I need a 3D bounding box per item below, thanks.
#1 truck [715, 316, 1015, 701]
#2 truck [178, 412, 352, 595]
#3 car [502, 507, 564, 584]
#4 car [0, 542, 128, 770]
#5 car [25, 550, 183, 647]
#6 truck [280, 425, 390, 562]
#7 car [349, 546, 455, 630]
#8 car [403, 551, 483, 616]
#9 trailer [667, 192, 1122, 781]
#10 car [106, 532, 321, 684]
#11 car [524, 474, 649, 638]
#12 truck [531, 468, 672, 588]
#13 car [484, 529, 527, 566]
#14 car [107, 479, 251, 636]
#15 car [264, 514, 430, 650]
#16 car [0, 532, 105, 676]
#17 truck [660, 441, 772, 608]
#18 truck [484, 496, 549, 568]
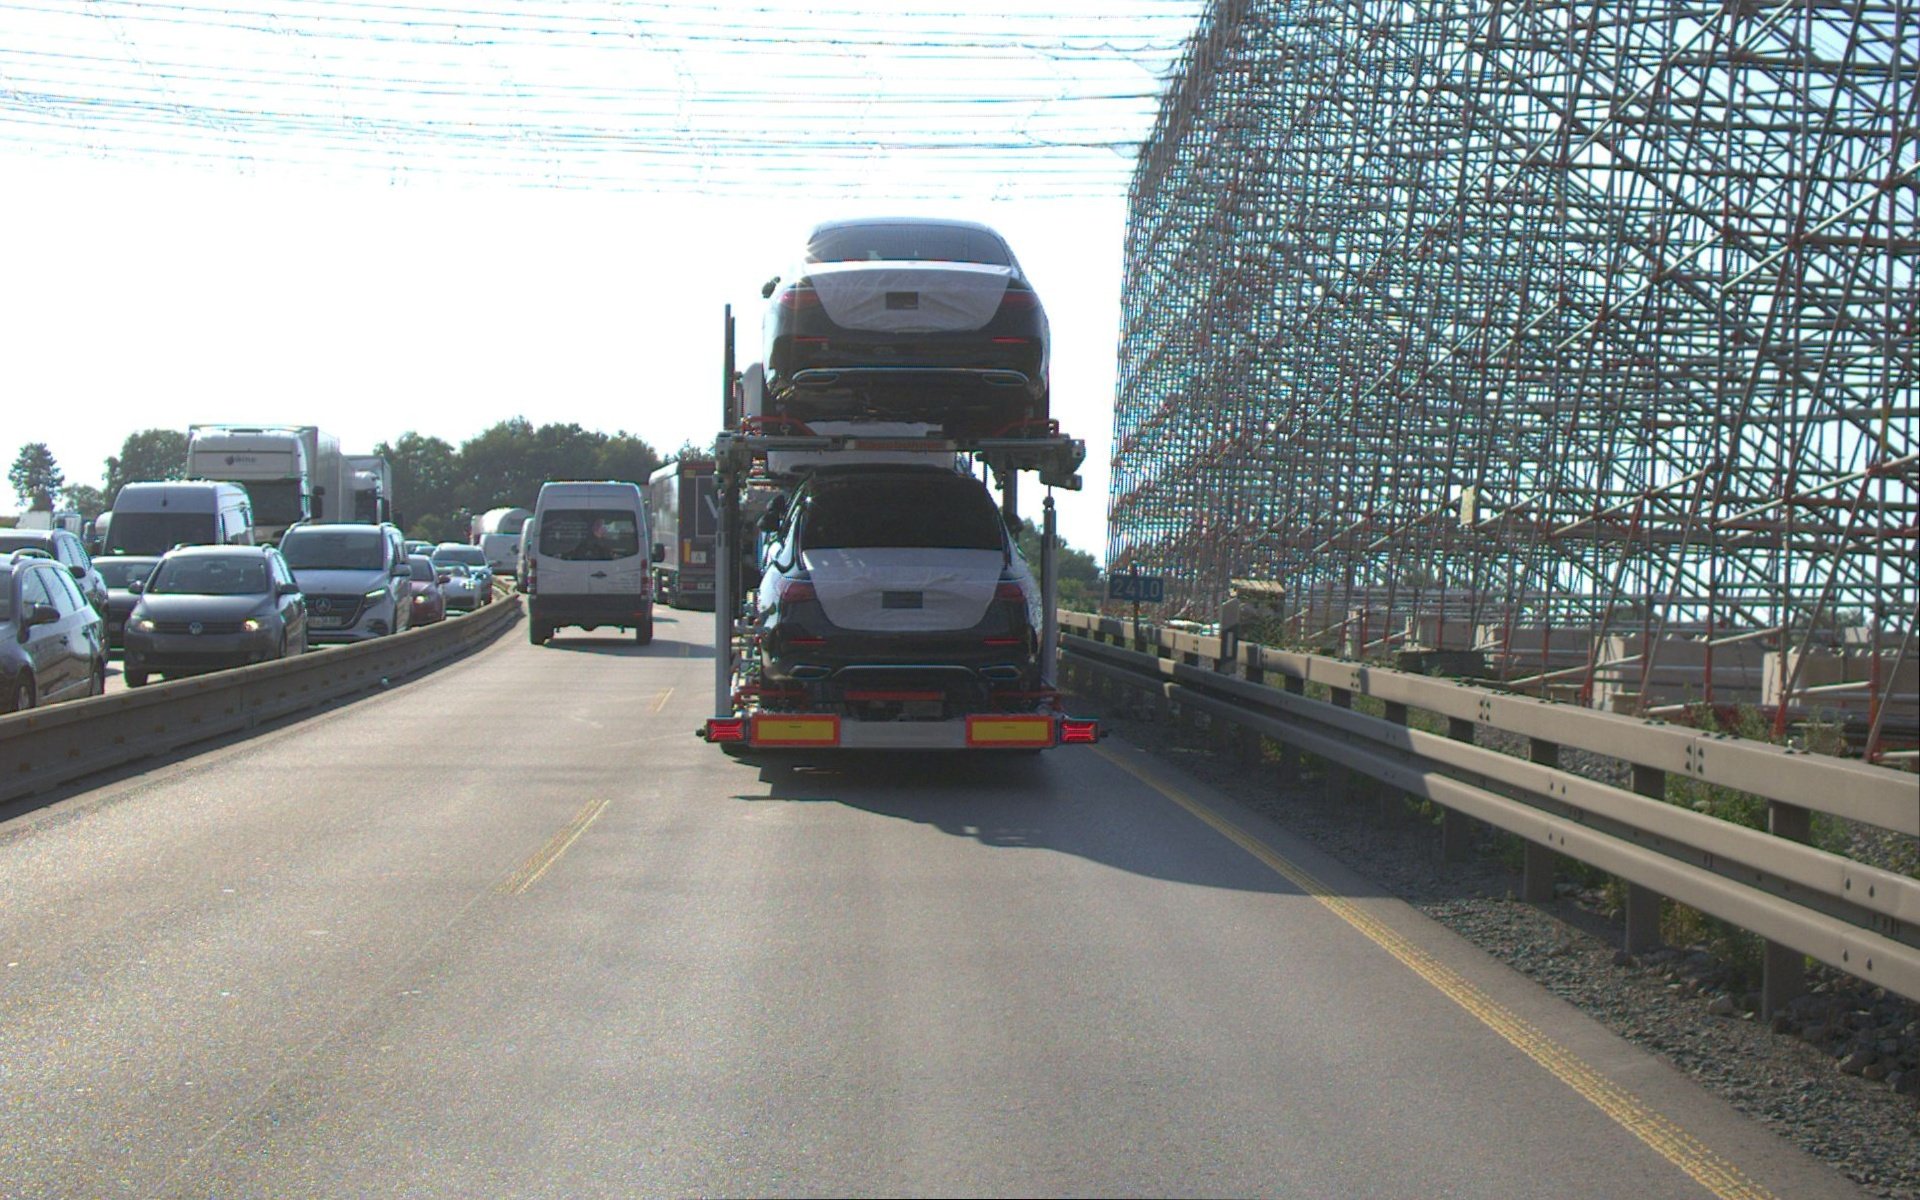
[{"bbox_3d":[-1.033,-0.900,36.666,2.881,3.690,7.326,0,0,-2],"label":"truck"},{"bbox_3d":[-14.498,-1.968,72.480,2.594,3.462,12.395,1,1,-7],"label":"truck"},{"bbox_3d":[-14.768,-1.892,118.943,1.993,2.570,4.001,1,1,-6],"label":"car"},{"bbox_3d":[-7.496,0.338,25.608,1.741,1.537,4.406,1,1,-3],"label":"car"},{"bbox_3d":[-12.255,-0.033,49.424,1.582,1.327,4.001,0,0,-5],"label":"car"},{"bbox_3d":[-17.078,-2.837,94.429,2.594,3.462,12.395,1,1,-9],"label":"truck"},{"bbox_3d":[-10.301,-0.239,63.491,1.836,1.448,4.001,1,1,-9],"label":"car"},{"bbox_3d":[-12.181,-0.406,80.855,1.701,1.448,4.001,1,1,-10],"label":"car"},{"bbox_3d":[-0.723,-0.759,29.159,2.868,3.712,14.948,0,0,-2],"label":"trailer"},{"bbox_3d":[-8.531,0.054,39.561,1.695,1.623,4.000,1,1,-2],"label":"car"},{"bbox_3d":[-6.192,-0.704,57.009,1.956,2.612,4.001,-1,0,-6],"label":"car"},{"bbox_3d":[-13.878,-2.644,131.713,3.686,4.206,13.672,-3,1,-12],"label":"truck"},{"bbox_3d":[-19.928,-2.299,150.796,1.710,1.612,3.504,0,0,-4],"label":"car"},{"bbox_3d":[-13.206,-0.726,58.306,1.993,2.532,4.001,1,1,-8],"label":"car"},{"bbox_3d":[-9.015,-0.289,50.848,1.836,1.887,4.000,1,1,-2],"label":"car"},{"bbox_3d":[-11.741,0.002,42.305,1.679,1.678,4.001,1,1,-4],"label":"car"},{"bbox_3d":[-6.980,-2.111,97.147,2.731,4.370,11.524,1,1,-6],"label":"truck"},{"bbox_3d":[-23.883,-3.640,184.870,2.615,3.711,9.662,1,1,-12],"label":"truck"}]
